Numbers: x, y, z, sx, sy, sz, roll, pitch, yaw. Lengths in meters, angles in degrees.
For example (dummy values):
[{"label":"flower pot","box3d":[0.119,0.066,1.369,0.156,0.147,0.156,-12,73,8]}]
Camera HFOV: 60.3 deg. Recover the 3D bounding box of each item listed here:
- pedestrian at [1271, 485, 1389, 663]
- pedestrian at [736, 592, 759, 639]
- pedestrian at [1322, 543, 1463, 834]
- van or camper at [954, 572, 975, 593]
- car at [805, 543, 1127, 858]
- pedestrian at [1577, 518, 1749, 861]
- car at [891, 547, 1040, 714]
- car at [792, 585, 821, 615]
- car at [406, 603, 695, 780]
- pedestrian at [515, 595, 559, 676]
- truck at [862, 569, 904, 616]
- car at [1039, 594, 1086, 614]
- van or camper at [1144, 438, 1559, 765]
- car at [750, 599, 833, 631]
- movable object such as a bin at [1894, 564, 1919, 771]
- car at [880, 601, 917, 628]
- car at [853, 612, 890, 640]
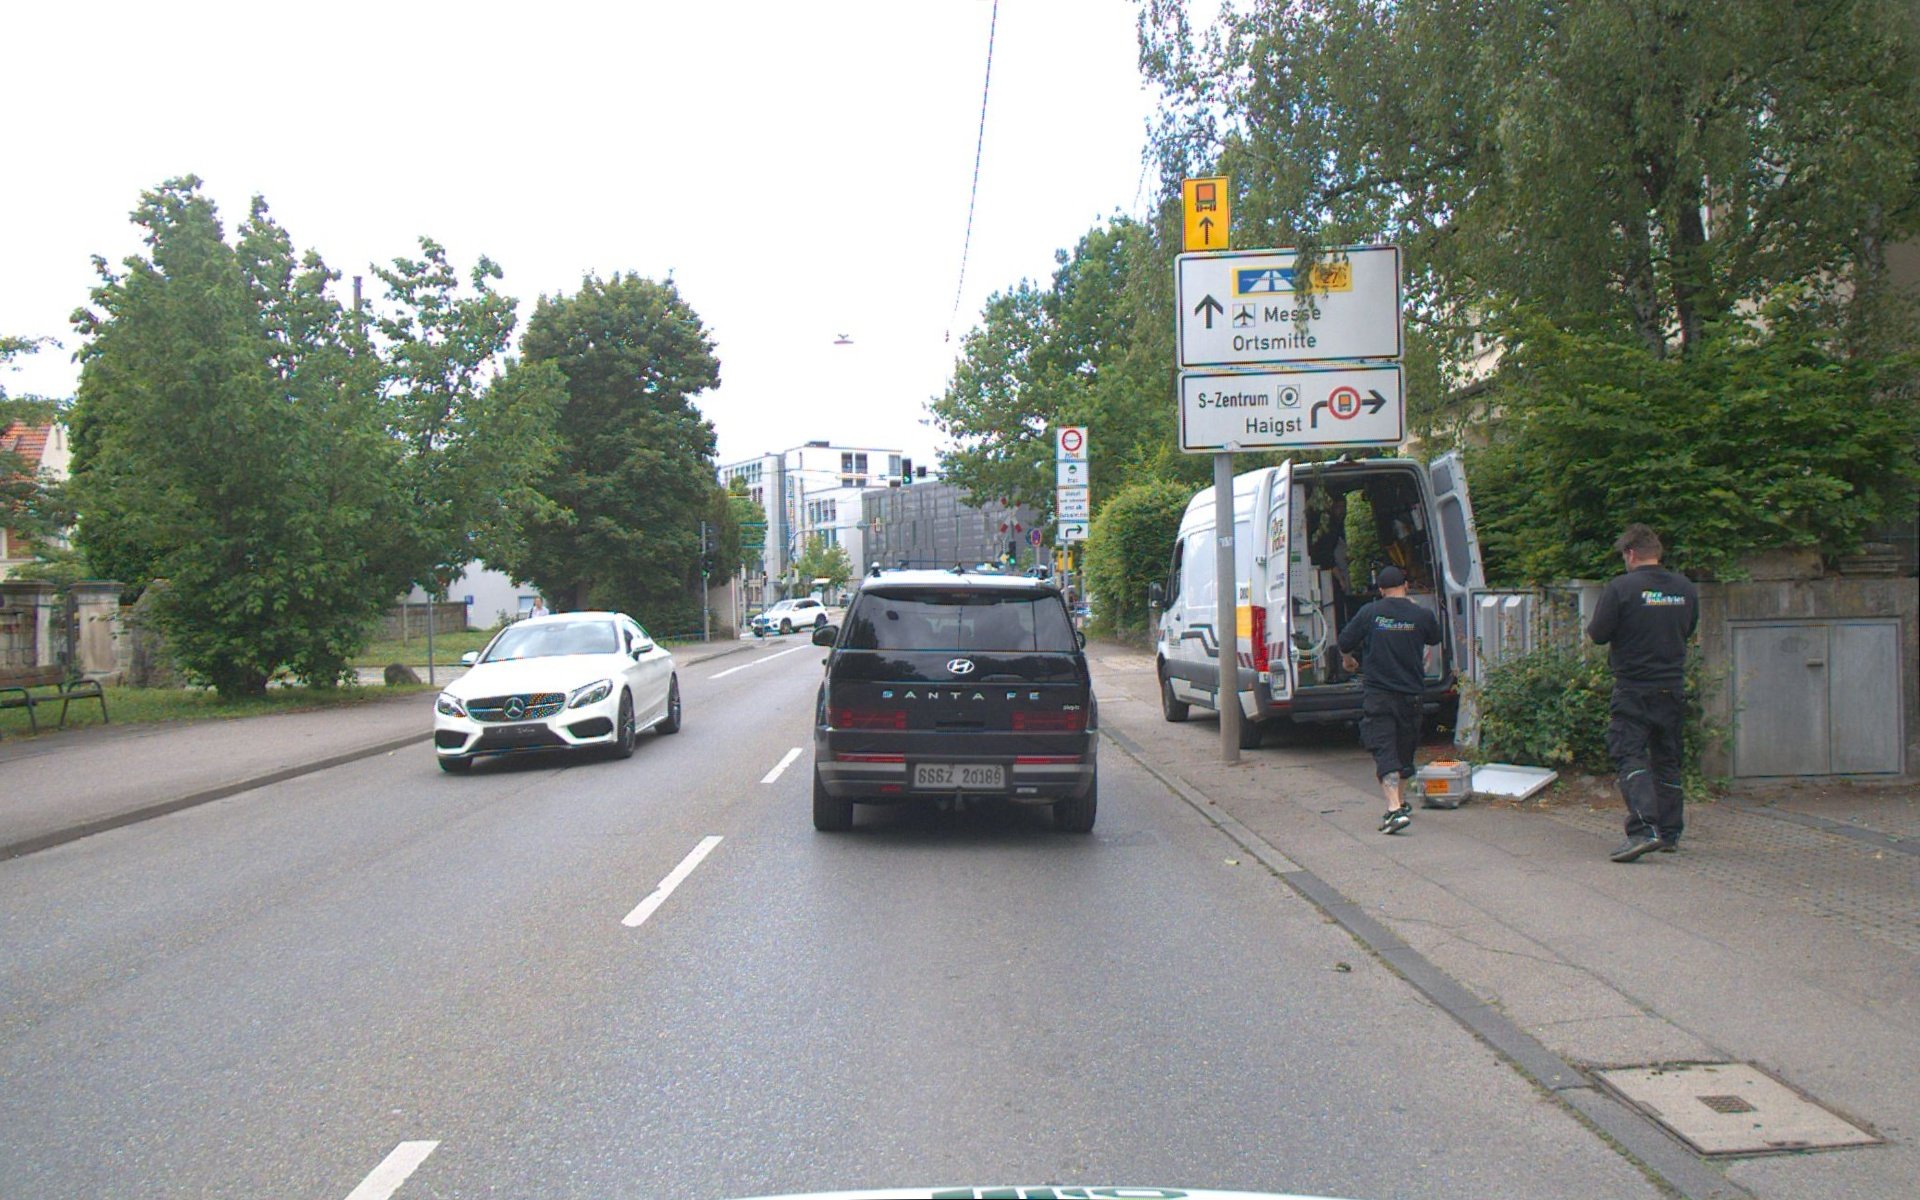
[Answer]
[{"label":"pedestrian","box3d":[3.586,-0.245,16.059,0.728,1.672,0.794,-2,-1,-28]},{"label":"pedestrian","box3d":[-9.434,0.673,73.504,0.812,2.049,1.047,2,-1,2]},{"label":"pedestrian","box3d":[2.760,0.542,10.516,0.734,1.750,0.792,-3,1,18]},{"label":"van or camper","box3d":[0.477,-1.708,164.166,1.760,2.033,3.820,2,0,-4]},{"label":"car","box3d":[0.013,0.606,11.810,1.858,1.807,3.993,2,0,-1]},{"label":"pedestrian","box3d":[3.799,0.472,8.981,0.634,1.782,0.655,-1,-1,2]},{"label":"car","box3d":[0.049,0.402,23.223,1.858,2.077,3.993,2,0,-1]},{"label":"car","box3d":[-12.596,0.016,135.435,2.288,2.356,4.951,-1,0,-6]},{"label":"car","box3d":[-4.035,0.821,17.148,1.778,1.444,4.827,-4,0,-1]},{"label":"pedestrian","box3d":[-9.489,0.789,37.134,0.751,1.779,0.904,0,-1,-1]},{"label":"truck","box3d":[-6.865,-0.629,145.667,3.048,3.926,9.607,-1,0,-6]},{"label":"car","box3d":[8.566,0.314,138.164,3.904,1.611,1.890,-1,0,2]},{"label":"van or camper","box3d":[3.607,0.063,16.972,2.294,2.538,6.599,-4,-1,-2]},{"label":"car","box3d":[-8.461,0.739,83.270,1.807,1.565,4.252,-1,0,36]},{"label":"movable object such as a bin","box3d":[7.597,0.453,11.507,1.391,1.487,1.297,-3,0,-1]},{"label":"car","box3d":[-3.909,0.900,104.121,1.849,1.667,3.890,-1,0,-9]},{"label":"car","box3d":[-4.985,1.455,92.870,1.847,1.445,3.994,-1,0,-6]}]
